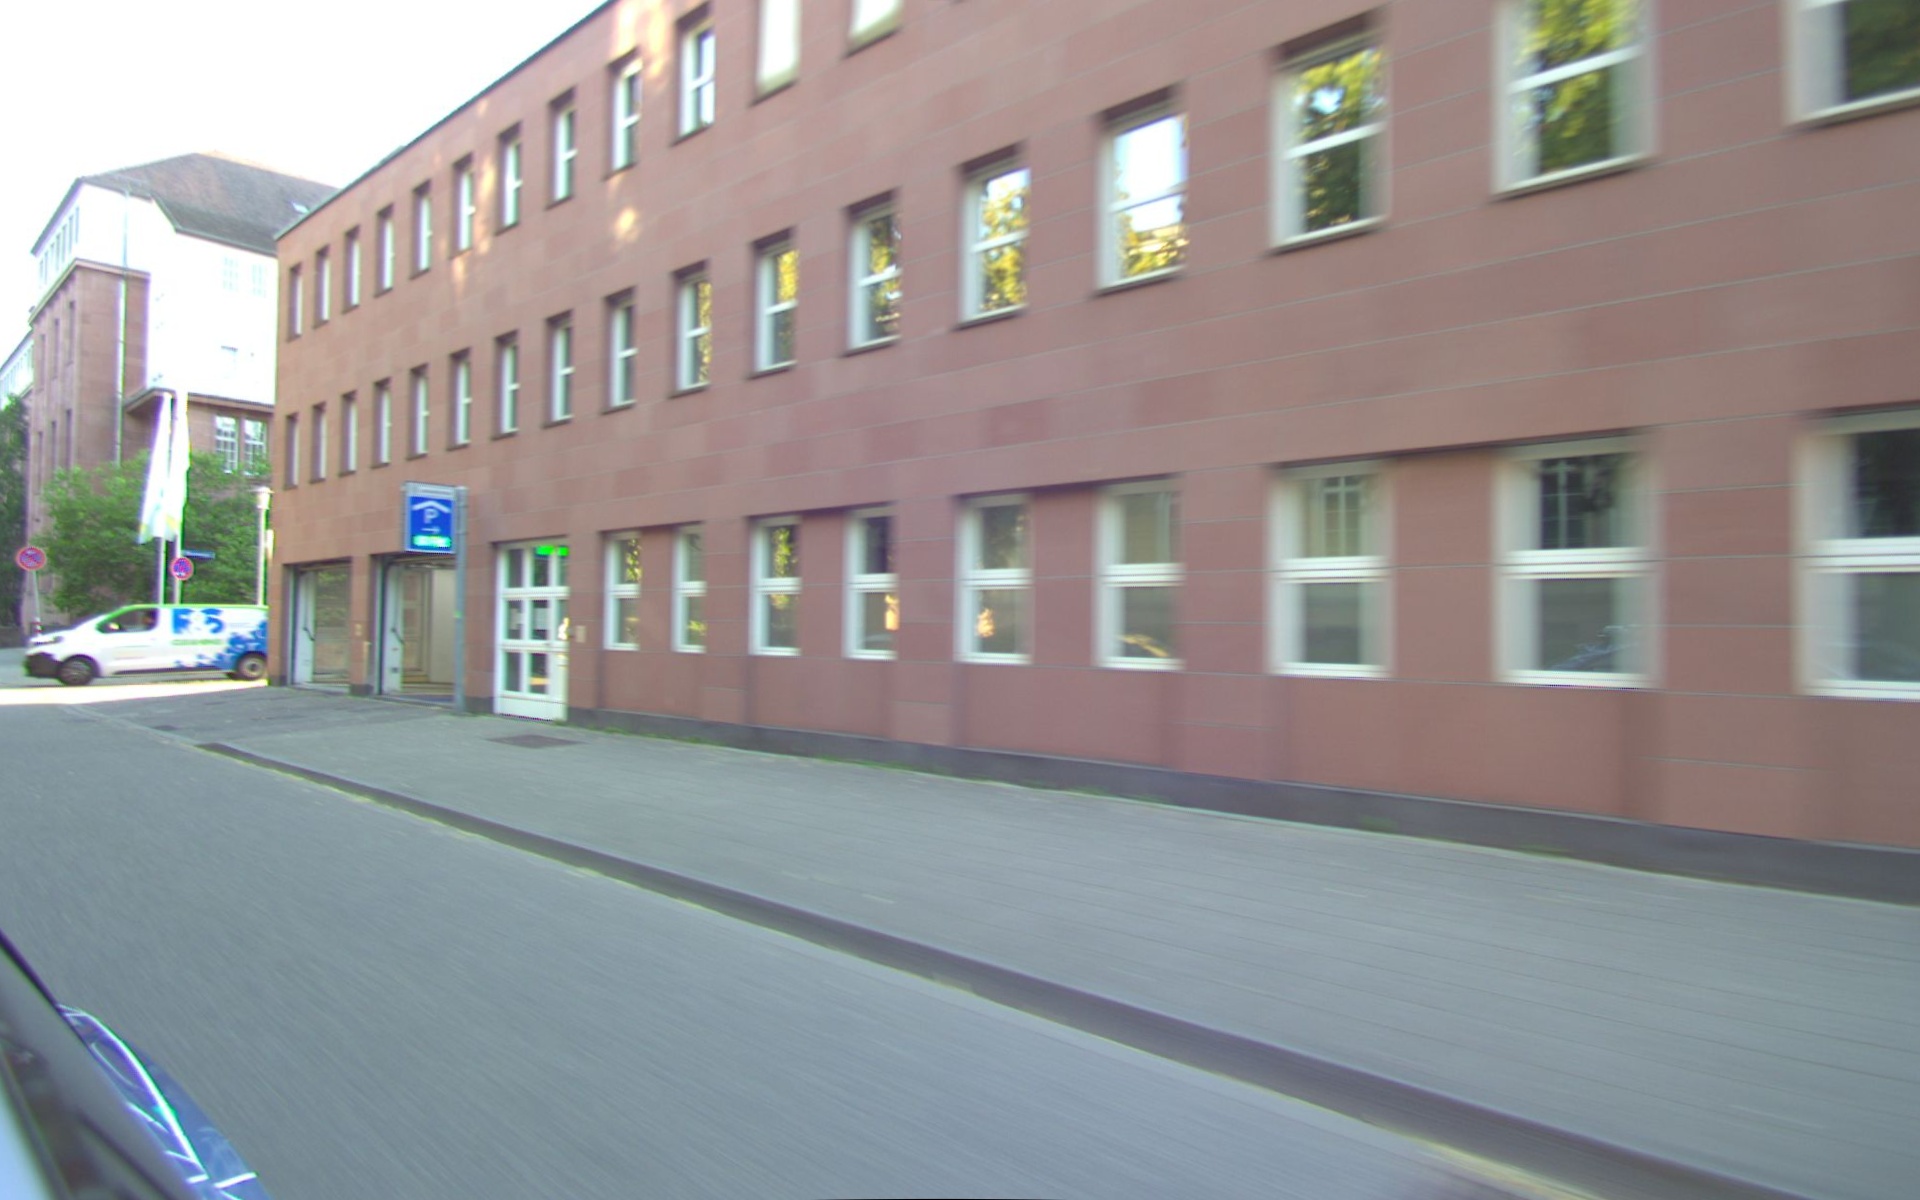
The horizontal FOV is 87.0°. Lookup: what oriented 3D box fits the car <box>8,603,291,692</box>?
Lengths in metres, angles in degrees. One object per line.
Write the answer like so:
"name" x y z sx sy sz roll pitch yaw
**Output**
"car" -19.127 1.118 24.094 2.000 1.889 5.035 -4 -4 44
